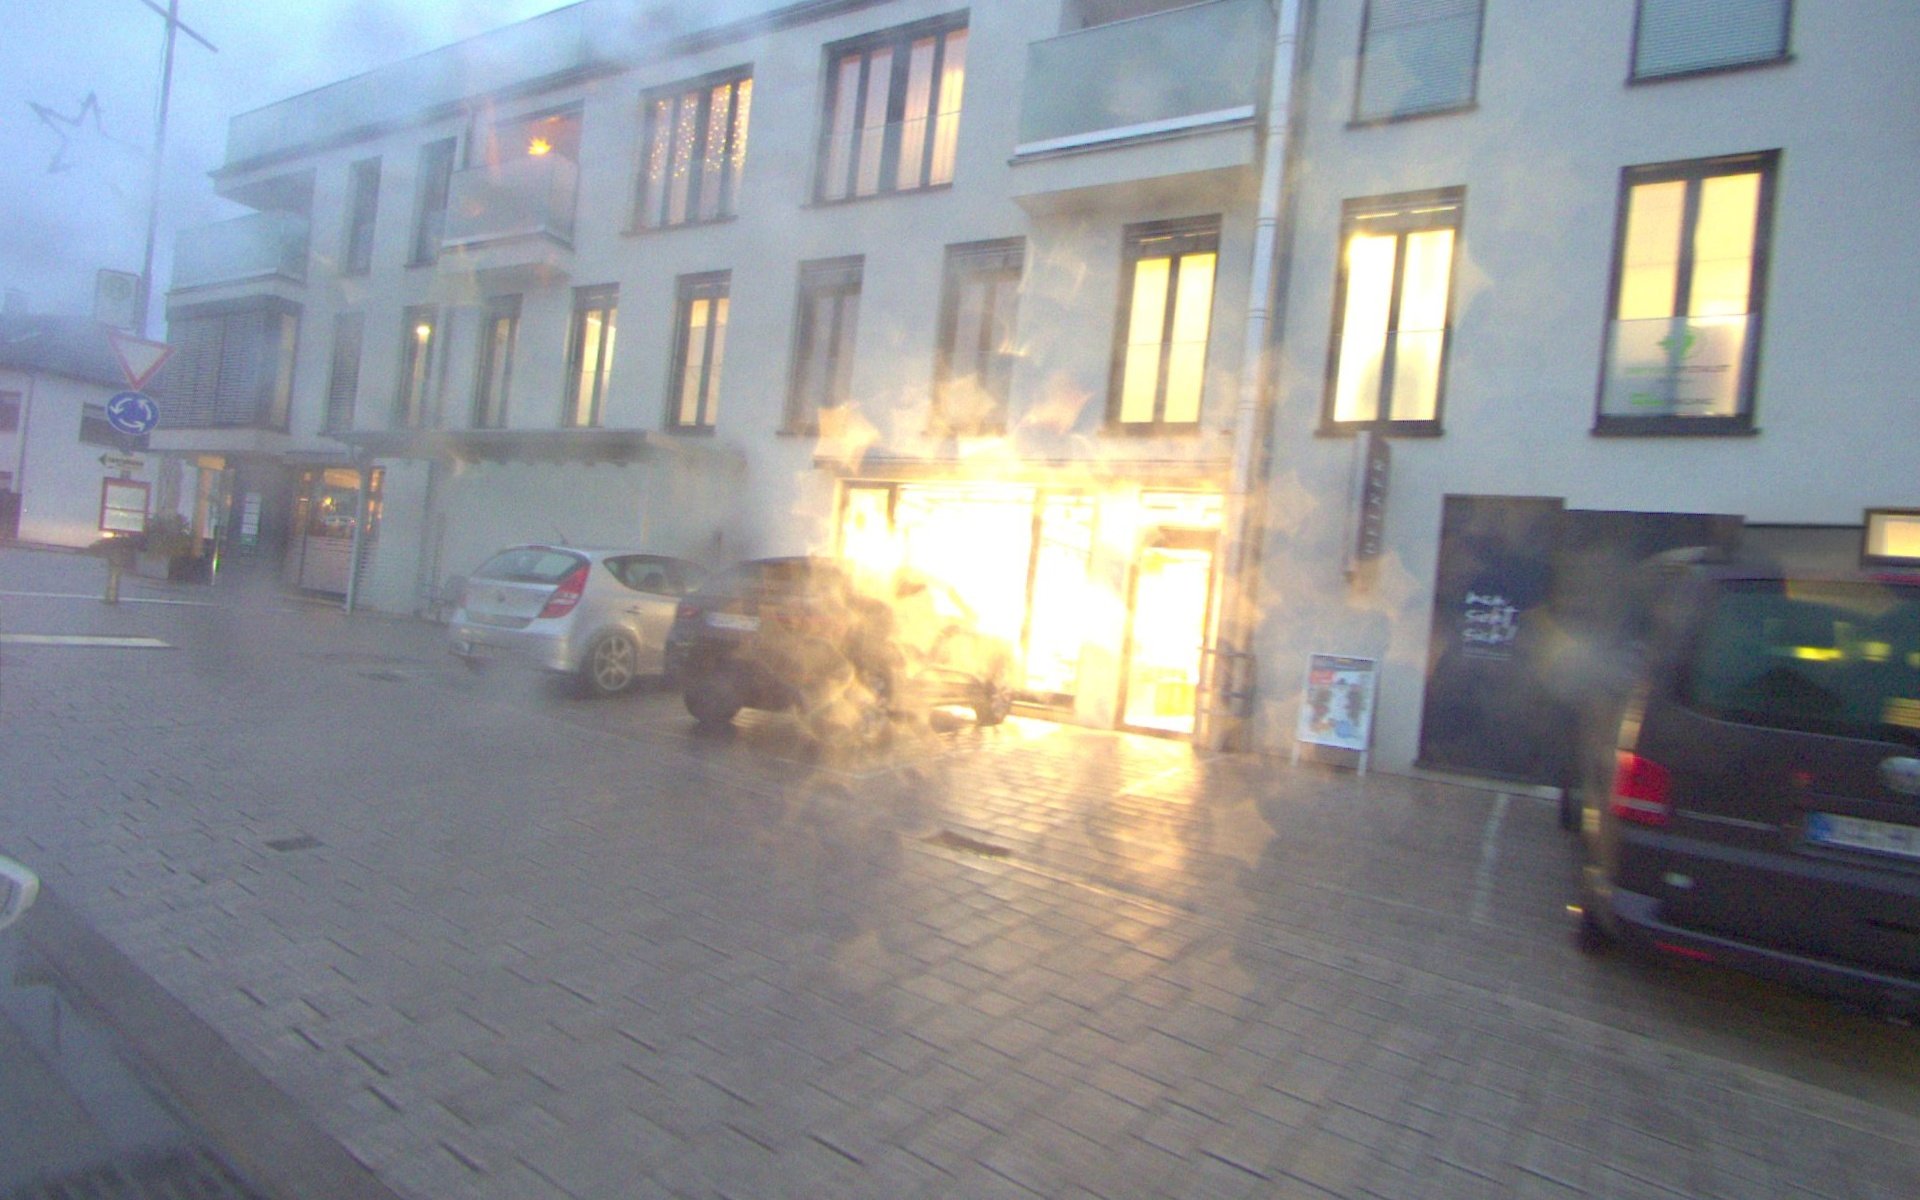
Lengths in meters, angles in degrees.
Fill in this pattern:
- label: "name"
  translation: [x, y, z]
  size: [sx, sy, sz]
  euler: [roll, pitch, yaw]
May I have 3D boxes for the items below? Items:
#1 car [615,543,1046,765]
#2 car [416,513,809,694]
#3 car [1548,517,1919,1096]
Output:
- label: "car"
  translation: [-0.905, 0.385, 9.681]
  size: [1.940, 1.512, 4.513]
  euler: [4, 2, 25]
- label: "car"
  translation: [-3.539, 0.082, 11.072]
  size: [1.781, 1.522, 3.996]
  euler: [5, 0, 23]
- label: "car"
  translation: [4.500, 0.778, 5.493]
  size: [1.941, 1.961, 4.540]
  euler: [8, 3, 29]
